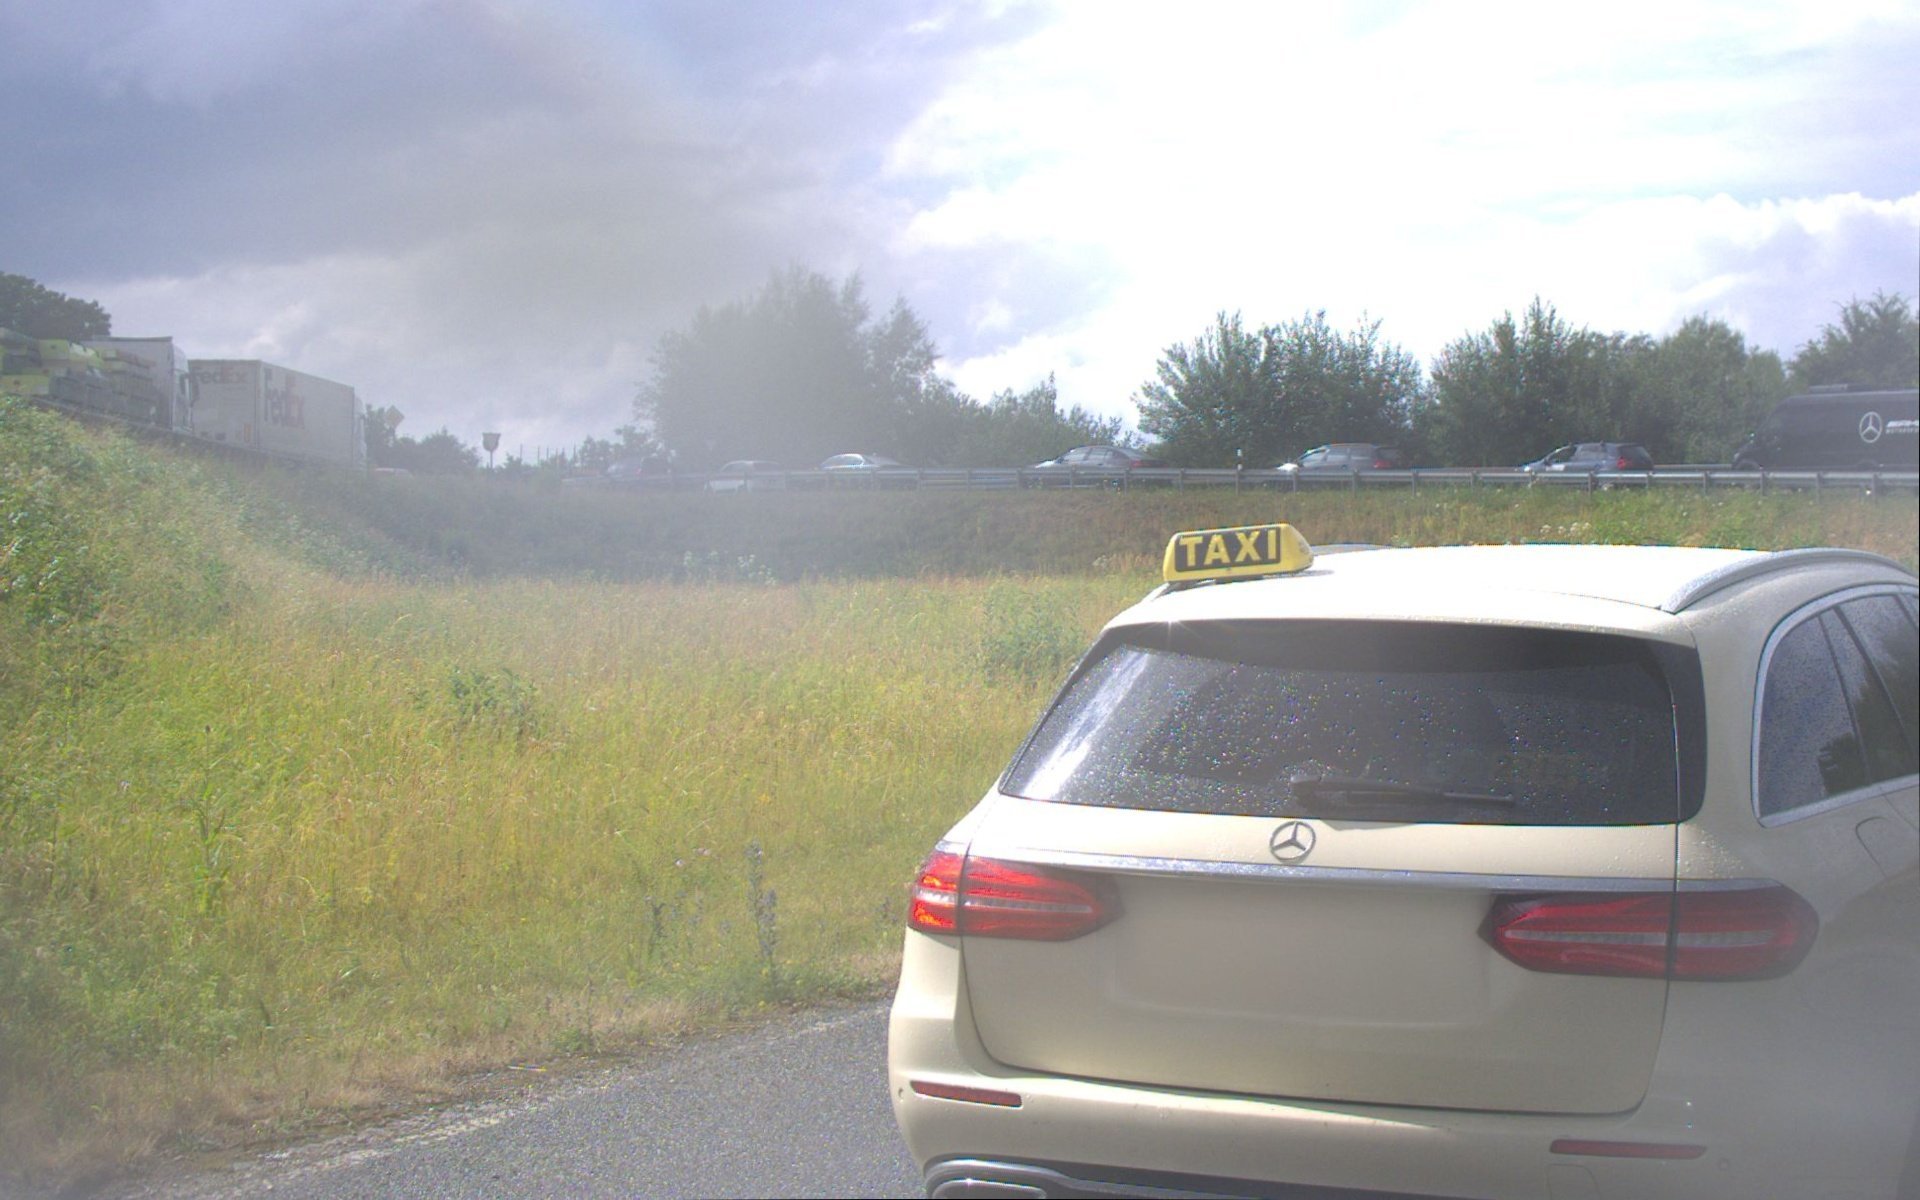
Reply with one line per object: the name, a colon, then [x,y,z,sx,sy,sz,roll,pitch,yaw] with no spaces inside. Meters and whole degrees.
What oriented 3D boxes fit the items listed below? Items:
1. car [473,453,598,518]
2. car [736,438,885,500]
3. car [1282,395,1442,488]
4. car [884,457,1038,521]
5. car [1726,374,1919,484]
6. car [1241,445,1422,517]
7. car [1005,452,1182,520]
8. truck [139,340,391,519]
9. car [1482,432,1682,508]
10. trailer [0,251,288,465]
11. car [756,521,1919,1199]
car: [-13.807,-3.707,111.937,3.986,2.007,1.827,0,-2,-5]
car: [-5.117,-4.434,117.145,5.053,1.855,1.995,-2,0,42]
car: [11.663,-4.576,99.868,3.994,2.007,1.996,-8,-7,36]
car: [0.023,-3.546,110.499,4.502,1.855,1.997,-2,0,26]
car: [22.979,-4.298,86.760,2.866,2.586,6.983,-3,2,-35]
car: [10.832,-3.457,100.453,5.053,1.855,1.995,-2,0,44]
car: [4.043,-3.449,104.677,5.050,1.855,1.996,-2,0,34]
truck: [-22.659,-5.401,113.865,4.460,4.488,19.375,0,-1,0]
car: [17.068,-3.550,94.486,5.053,1.855,1.995,-2,0,42]
trailer: [-22.632,-6.344,94.401,4.413,3.943,20.217,0,-1,0]
car: [1.506,0.609,7.784,1.919,1.502,4.589,0,0,26]
